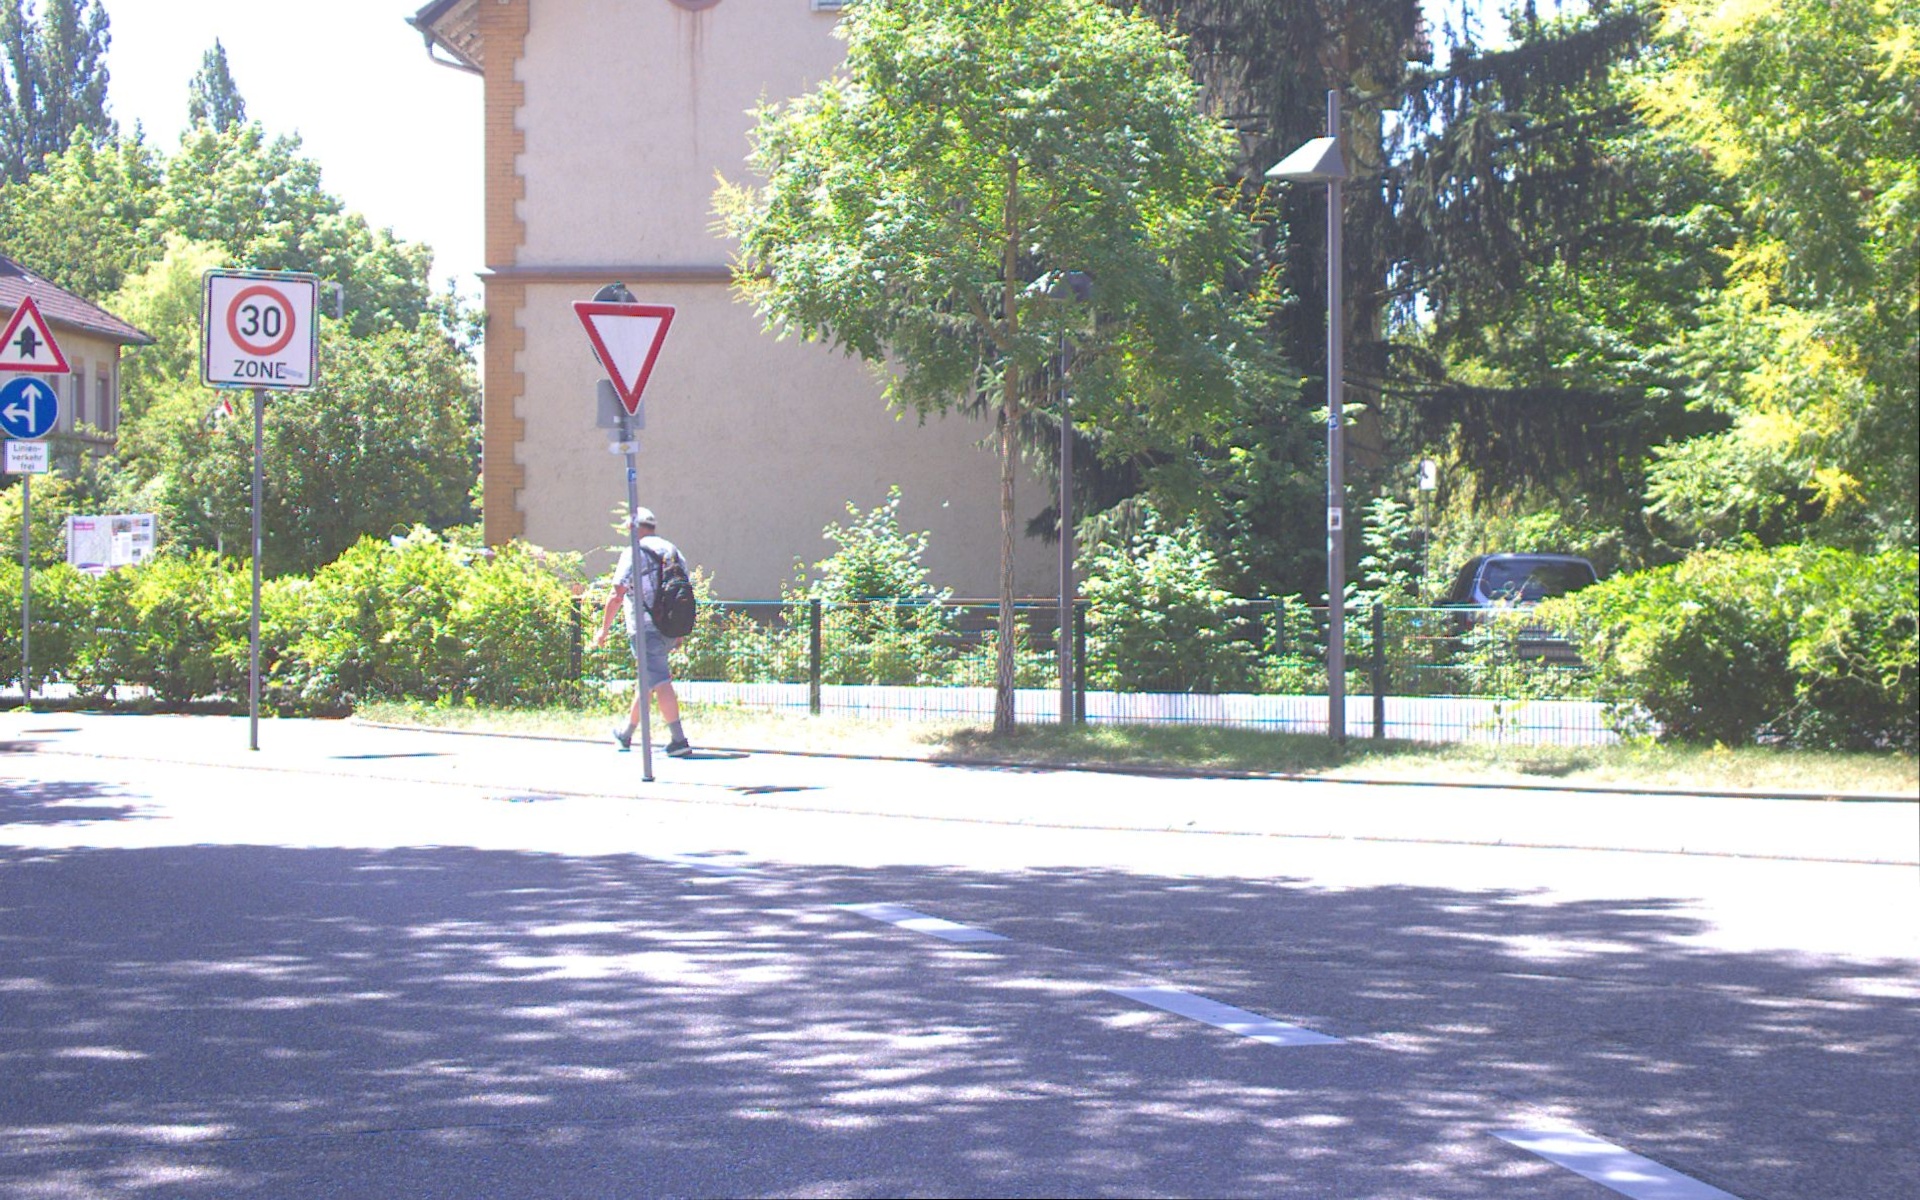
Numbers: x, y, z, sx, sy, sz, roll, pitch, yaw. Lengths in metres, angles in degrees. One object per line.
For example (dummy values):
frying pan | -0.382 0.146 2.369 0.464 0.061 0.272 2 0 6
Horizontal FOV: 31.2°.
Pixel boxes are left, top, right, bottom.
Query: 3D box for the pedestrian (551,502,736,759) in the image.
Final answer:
pedestrian | -2.285 0.201 24.785 0.912 1.765 0.915 -4 3 -37

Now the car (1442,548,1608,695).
car | 6.198 0.202 38.030 1.650 1.531 3.968 0 1 7
